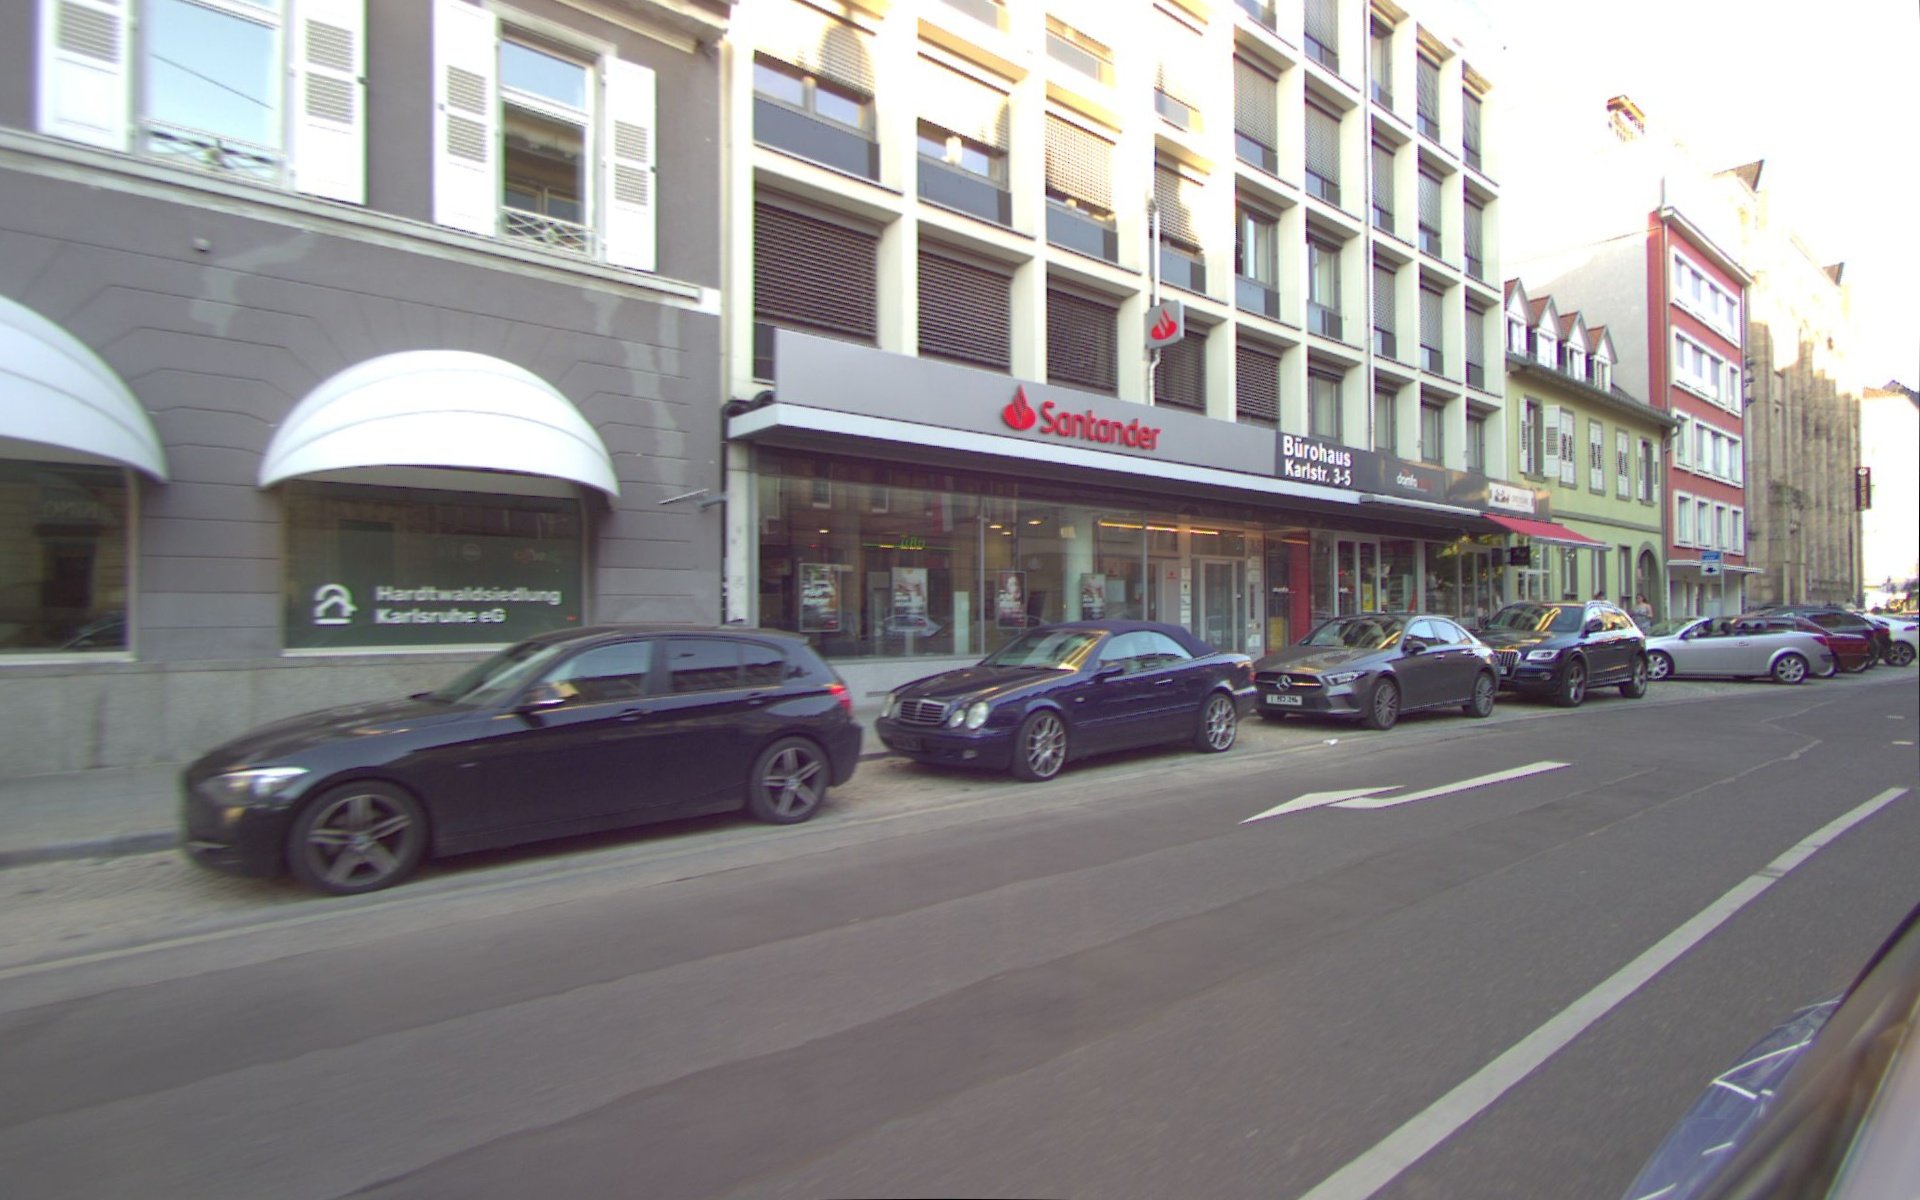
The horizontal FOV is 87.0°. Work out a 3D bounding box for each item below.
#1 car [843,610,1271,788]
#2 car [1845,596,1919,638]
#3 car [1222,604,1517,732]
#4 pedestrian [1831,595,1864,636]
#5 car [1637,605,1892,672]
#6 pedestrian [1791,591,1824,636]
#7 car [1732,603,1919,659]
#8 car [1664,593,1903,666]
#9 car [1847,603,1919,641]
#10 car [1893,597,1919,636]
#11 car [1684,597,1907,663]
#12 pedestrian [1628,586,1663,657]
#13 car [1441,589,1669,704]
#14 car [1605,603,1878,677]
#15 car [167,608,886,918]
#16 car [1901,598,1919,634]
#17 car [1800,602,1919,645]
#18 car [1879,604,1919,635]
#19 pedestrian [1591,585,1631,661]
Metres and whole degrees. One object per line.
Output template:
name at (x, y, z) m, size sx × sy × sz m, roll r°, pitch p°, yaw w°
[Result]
car at (1.145, 0.817, 10.230) m, size 4.422 × 1.405 × 1.745 m, roll 0°, pitch -1°, yaw -41°
car at (40.159, 0.708, 42.725) m, size 3.798 × 1.775 × 1.738 m, roll -1°, pitch -1°, yaw 26°
car at (5.670, 0.799, 13.748) m, size 4.476 × 1.465 × 1.746 m, roll 0°, pitch -1°, yaw -39°
pedestrian at (39.483, 0.682, 45.008) m, size 0.993 × 1.823 × 0.850 m, roll 0°, pitch -1°, yaw -35°
car at (18.289, 0.851, 23.228) m, size 4.170 × 1.458 × 1.745 m, roll -1°, pitch -1°, yaw 17°
pedestrian at (37.513, 0.608, 44.779) m, size 0.993 × 1.969 × 0.850 m, roll 0°, pitch -1°, yaw -35°
car at (24.518, 0.852, 28.384) m, size 4.176 × 1.492 × 1.742 m, roll -1°, pitch -1°, yaw 21°
car at (20.246, 0.704, 25.092) m, size 4.170 × 1.698 × 1.745 m, roll -1°, pitch -1°, yaw 17°
car at (38.539, 0.872, 40.527) m, size 4.185 × 1.492 × 1.738 m, roll -1°, pitch -1°, yaw 26°
car at (45.562, 0.738, 46.304) m, size 3.798 × 1.747 × 1.738 m, roll -1°, pitch -2°, yaw 26°
car at (21.973, 0.779, 26.827) m, size 4.176 × 1.637 × 1.742 m, roll -1°, pitch -1°, yaw 21°
pedestrian at (18.707, 0.583, 27.630) m, size 0.706 × 1.911 × 0.612 m, roll 1°, pitch -1°, yaw -41°
car at (9.989, 0.692, 16.890) m, size 4.282 × 1.680 × 1.832 m, roll 0°, pitch -1°, yaw -38°
car at (16.297, 0.817, 21.318) m, size 4.158 × 1.458 × 1.749 m, roll 0°, pitch -1°, yaw 9°
car at (-2.702, 0.797, 6.858) m, size 4.174 × 1.465 × 1.746 m, roll 0°, pitch -1°, yaw -40°
car at (47.741, 0.742, 48.241) m, size 3.798 × 1.747 × 1.738 m, roll -1°, pitch -2°, yaw 26°
car at (32.986, 0.836, 36.169) m, size 4.176 × 1.492 × 1.742 m, roll -1°, pitch -1°, yaw 21°
car at (43.088, 0.847, 44.332) m, size 3.798 × 1.365 × 1.723 m, roll -1°, pitch -2°, yaw 26°
pedestrian at (18.278, 0.627, 28.405) m, size 0.706 × 2.094 × 0.762 m, roll 1°, pitch -1°, yaw -41°
